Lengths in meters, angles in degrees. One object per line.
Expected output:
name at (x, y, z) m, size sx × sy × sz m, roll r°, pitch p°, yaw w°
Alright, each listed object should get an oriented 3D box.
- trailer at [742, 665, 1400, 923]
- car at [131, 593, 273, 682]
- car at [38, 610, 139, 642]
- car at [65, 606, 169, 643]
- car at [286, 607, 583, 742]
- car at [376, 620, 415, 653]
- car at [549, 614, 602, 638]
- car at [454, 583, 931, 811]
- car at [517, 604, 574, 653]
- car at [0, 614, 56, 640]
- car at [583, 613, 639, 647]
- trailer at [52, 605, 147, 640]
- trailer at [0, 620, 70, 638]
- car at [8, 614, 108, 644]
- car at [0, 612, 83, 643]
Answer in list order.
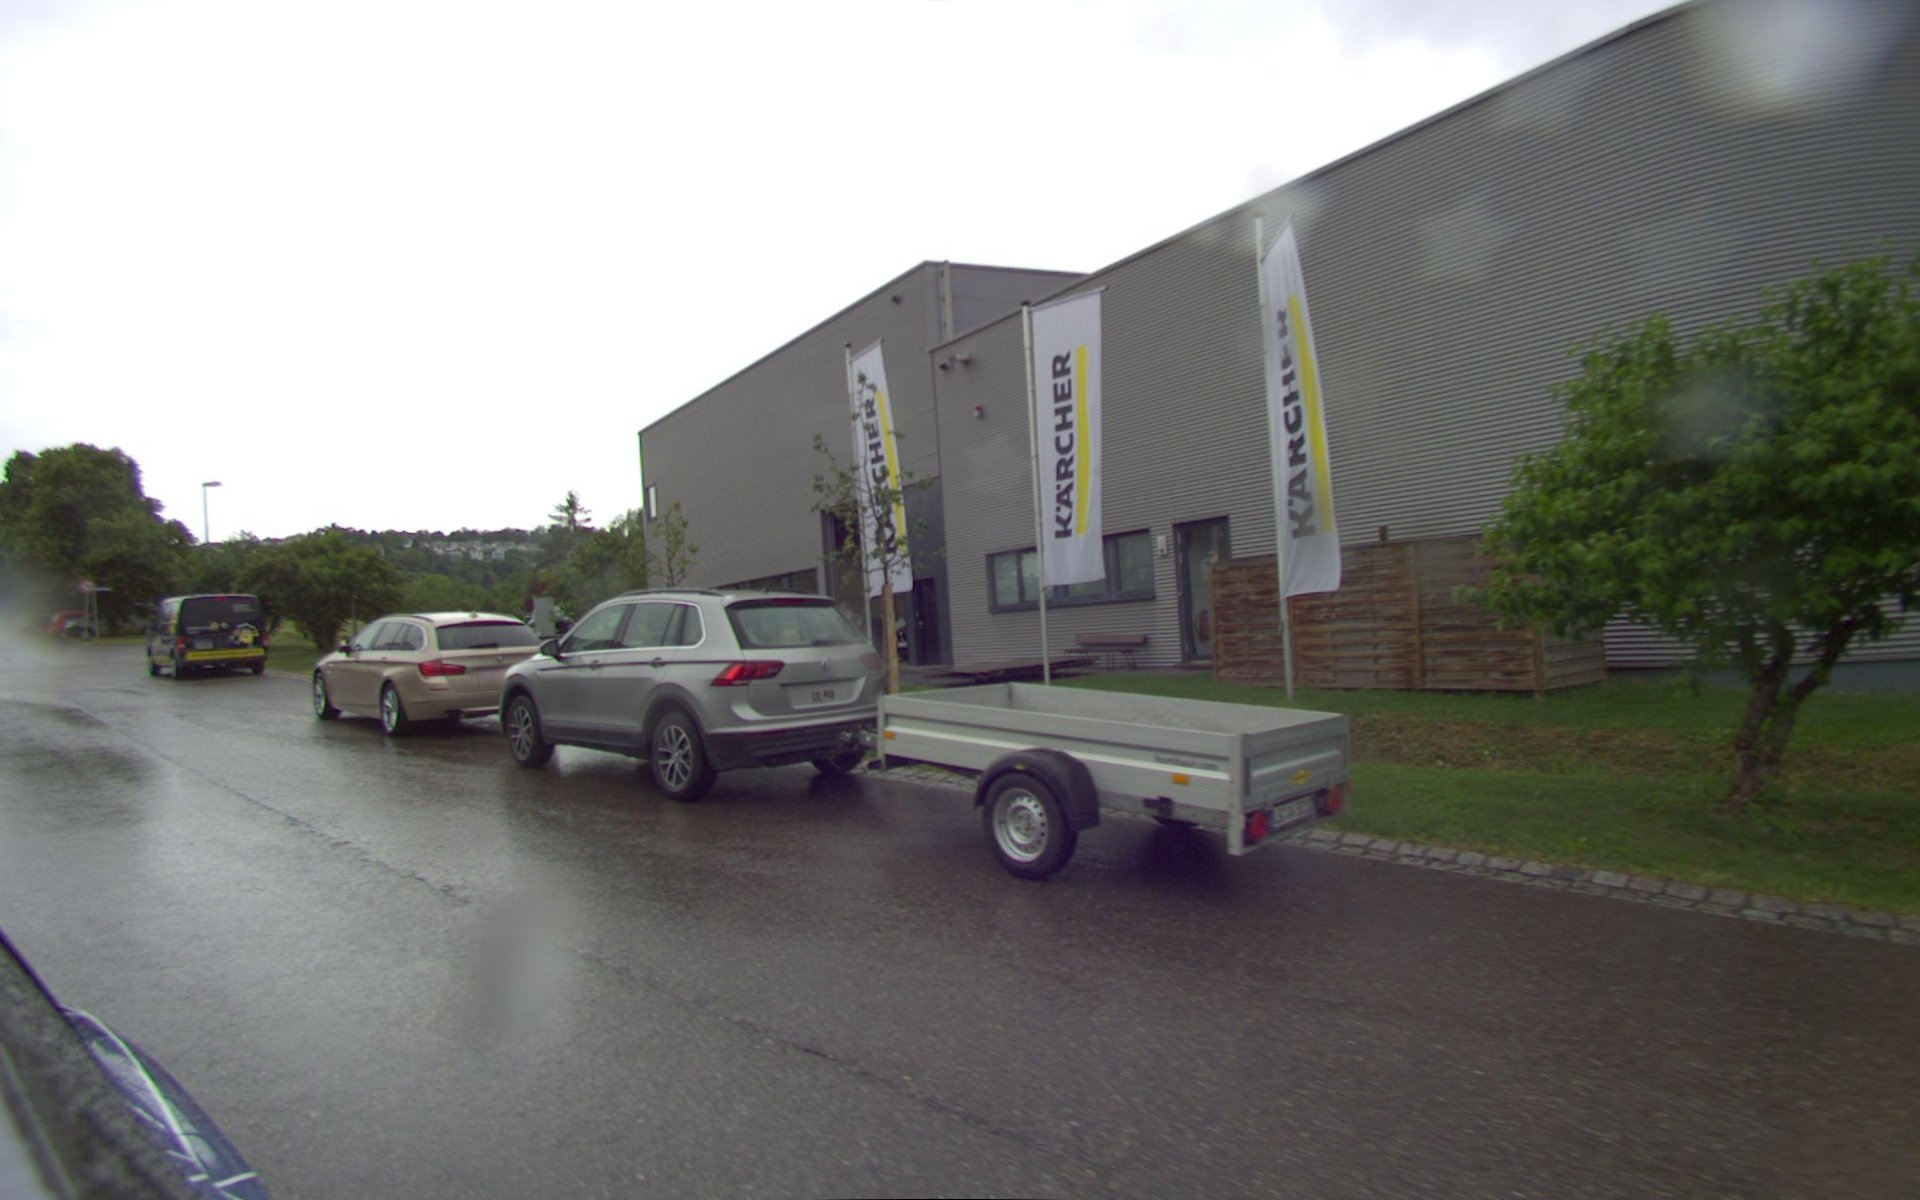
trailer at (0.485, 0.977, 6.384) m, size 3.896 × 0.895 × 1.662 m, roll -1°, pitch 0°, yaw 42°
car at (-17.950, 0.822, 23.873) m, size 4.849 × 1.845 × 1.894 m, roll -1°, pitch 1°, yaw 44°
car at (-50.543, 1.474, 58.732) m, size 1.752 × 1.734 × 4.157 m, roll -1°, pitch 0°, yaw 37°
car at (-46.422, 1.309, 55.768) m, size 4.251 × 1.920 × 1.863 m, roll -1°, pitch 0°, yaw -45°
car at (-7.320, 0.885, 13.794) m, size 5.247 × 1.472 × 1.935 m, roll -1°, pitch 0°, yaw 43°
car at (-34.559, 2.268, 62.063) m, size 1.965 × 1.767 × 4.397 m, roll -1°, pitch -4°, yaw -28°
car at (-35.907, 2.435, 94.638) m, size 4.425 × 2.237 × 1.936 m, roll 0°, pitch -2°, yaw -28°
car at (-2.692, 0.694, 9.408) m, size 4.838 × 1.589 × 1.937 m, roll -1°, pitch 0°, yaw 41°
car at (-18.375, 1.316, 44.732) m, size 2.099 × 1.936 × 5.628 m, roll -2°, pitch -2°, yaw -24°
car at (-67.210, 1.944, 71.784) m, size 2.041 × 1.734 × 4.329 m, roll -1°, pitch 0°, yaw 36°
car at (-15.502, 1.310, 44.854) m, size 1.965 × 1.407 × 4.706 m, roll -1°, pitch -1°, yaw -24°
trailer at (-52.163, 1.318, 61.418) m, size 1.772 × 1.999 × 4.170 m, roll -1°, pitch 0°, yaw 40°
trailer at (-63.065, 1.966, 68.527) m, size 1.997 × 0.968 × 3.904 m, roll -2°, pitch 1°, yaw 38°
car at (-58.332, 1.859, 65.501) m, size 1.805 × 1.601 × 4.572 m, roll -1°, pitch 2°, yaw 40°
car at (-60.919, 1.783, 66.966) m, size 2.025 × 1.734 × 4.032 m, roll -1°, pitch 2°, yaw 41°
